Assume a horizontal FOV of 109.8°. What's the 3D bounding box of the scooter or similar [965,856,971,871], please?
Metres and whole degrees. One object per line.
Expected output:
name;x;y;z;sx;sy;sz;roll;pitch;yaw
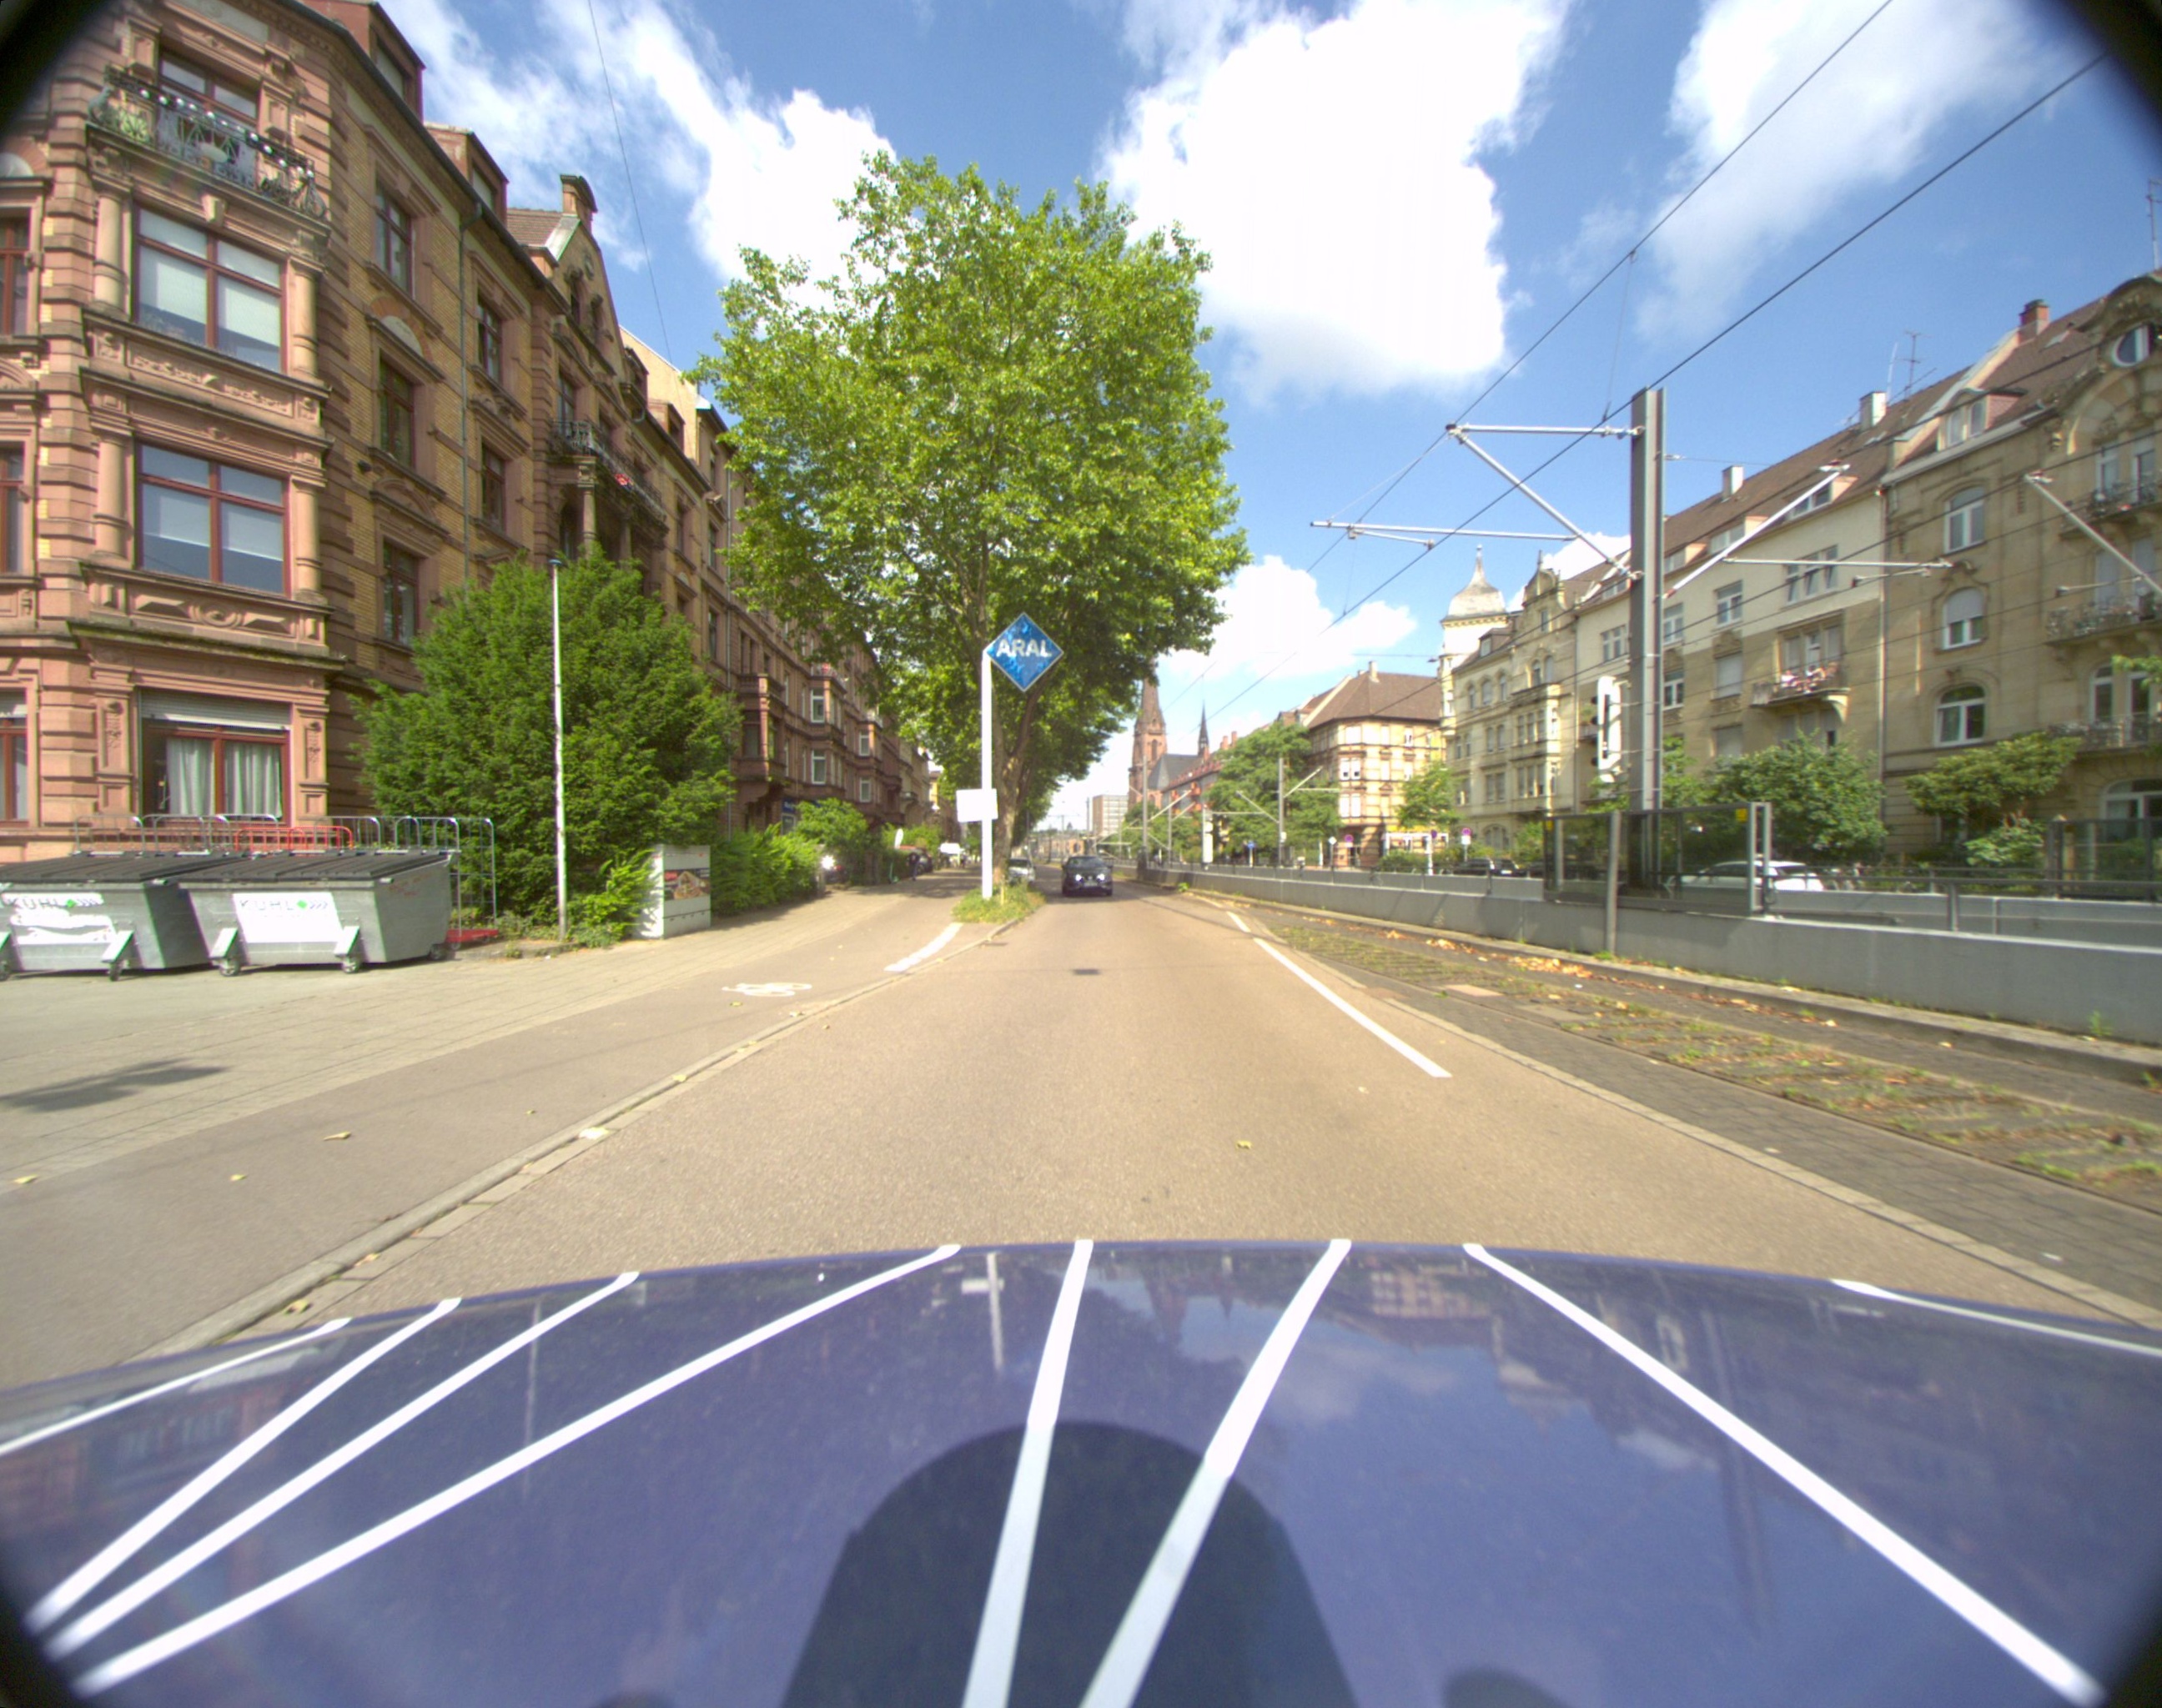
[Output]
scooter or similar;-9.615;0.800;64.738;0.468;1.204;1.322;0;0;-6

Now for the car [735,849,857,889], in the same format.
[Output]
car;-11.537;0.604;30.958;4.247;1.461;1.941;2;0;-5

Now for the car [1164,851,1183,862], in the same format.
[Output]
car;14.096;0.373;115.606;1.999;1.628;4.111;0;0;-6

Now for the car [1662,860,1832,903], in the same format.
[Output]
car;22.782;0.883;26.241;1.757;1.320;4.310;0;0;-7

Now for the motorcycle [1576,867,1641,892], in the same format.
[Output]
motorcycle;22.238;1.071;32.072;1.766;0.936;1.417;2;0;-7

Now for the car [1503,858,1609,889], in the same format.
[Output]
car;21.916;0.856;35.295;2.026;1.319;4.098;0;0;-7

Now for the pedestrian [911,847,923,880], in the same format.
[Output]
pedestrian;-8.875;0.493;41.054;0.566;1.776;0.630;0;1;-5

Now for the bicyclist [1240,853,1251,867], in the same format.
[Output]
bicyclist;16.426;0.601;76.028;0.770;1.330;1.048;2;0;-5

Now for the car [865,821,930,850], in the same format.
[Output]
car;-13.975;-1.397;58.142;4.409;1.927;1.983;3;0;-2

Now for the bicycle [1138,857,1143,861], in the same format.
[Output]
bicycle;10.588;0.893;135.750;0.497;0.764;1.816;0;0;-6

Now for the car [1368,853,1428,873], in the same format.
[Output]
car;25.296;0.704;60.712;3.964;1.597;2.034;0;1;-14

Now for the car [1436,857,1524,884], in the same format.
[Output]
car;21.212;0.828;40.619;1.954;1.319;4.723;0;0;-5

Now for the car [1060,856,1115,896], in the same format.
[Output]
car;0.186;0.809;30.331;1.800;1.454;4.565;0;0;-4

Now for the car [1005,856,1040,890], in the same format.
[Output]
car;-2.855;0.879;36.467;1.558;1.476;3.856;1;0;-6

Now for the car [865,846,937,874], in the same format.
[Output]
car;-12.406;0.402;52.521;4.738;1.772;2.003;1;0;-13

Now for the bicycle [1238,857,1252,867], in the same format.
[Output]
bicycle;16.430;0.784;76.004;0.778;0.973;2.139;2;0;-5
